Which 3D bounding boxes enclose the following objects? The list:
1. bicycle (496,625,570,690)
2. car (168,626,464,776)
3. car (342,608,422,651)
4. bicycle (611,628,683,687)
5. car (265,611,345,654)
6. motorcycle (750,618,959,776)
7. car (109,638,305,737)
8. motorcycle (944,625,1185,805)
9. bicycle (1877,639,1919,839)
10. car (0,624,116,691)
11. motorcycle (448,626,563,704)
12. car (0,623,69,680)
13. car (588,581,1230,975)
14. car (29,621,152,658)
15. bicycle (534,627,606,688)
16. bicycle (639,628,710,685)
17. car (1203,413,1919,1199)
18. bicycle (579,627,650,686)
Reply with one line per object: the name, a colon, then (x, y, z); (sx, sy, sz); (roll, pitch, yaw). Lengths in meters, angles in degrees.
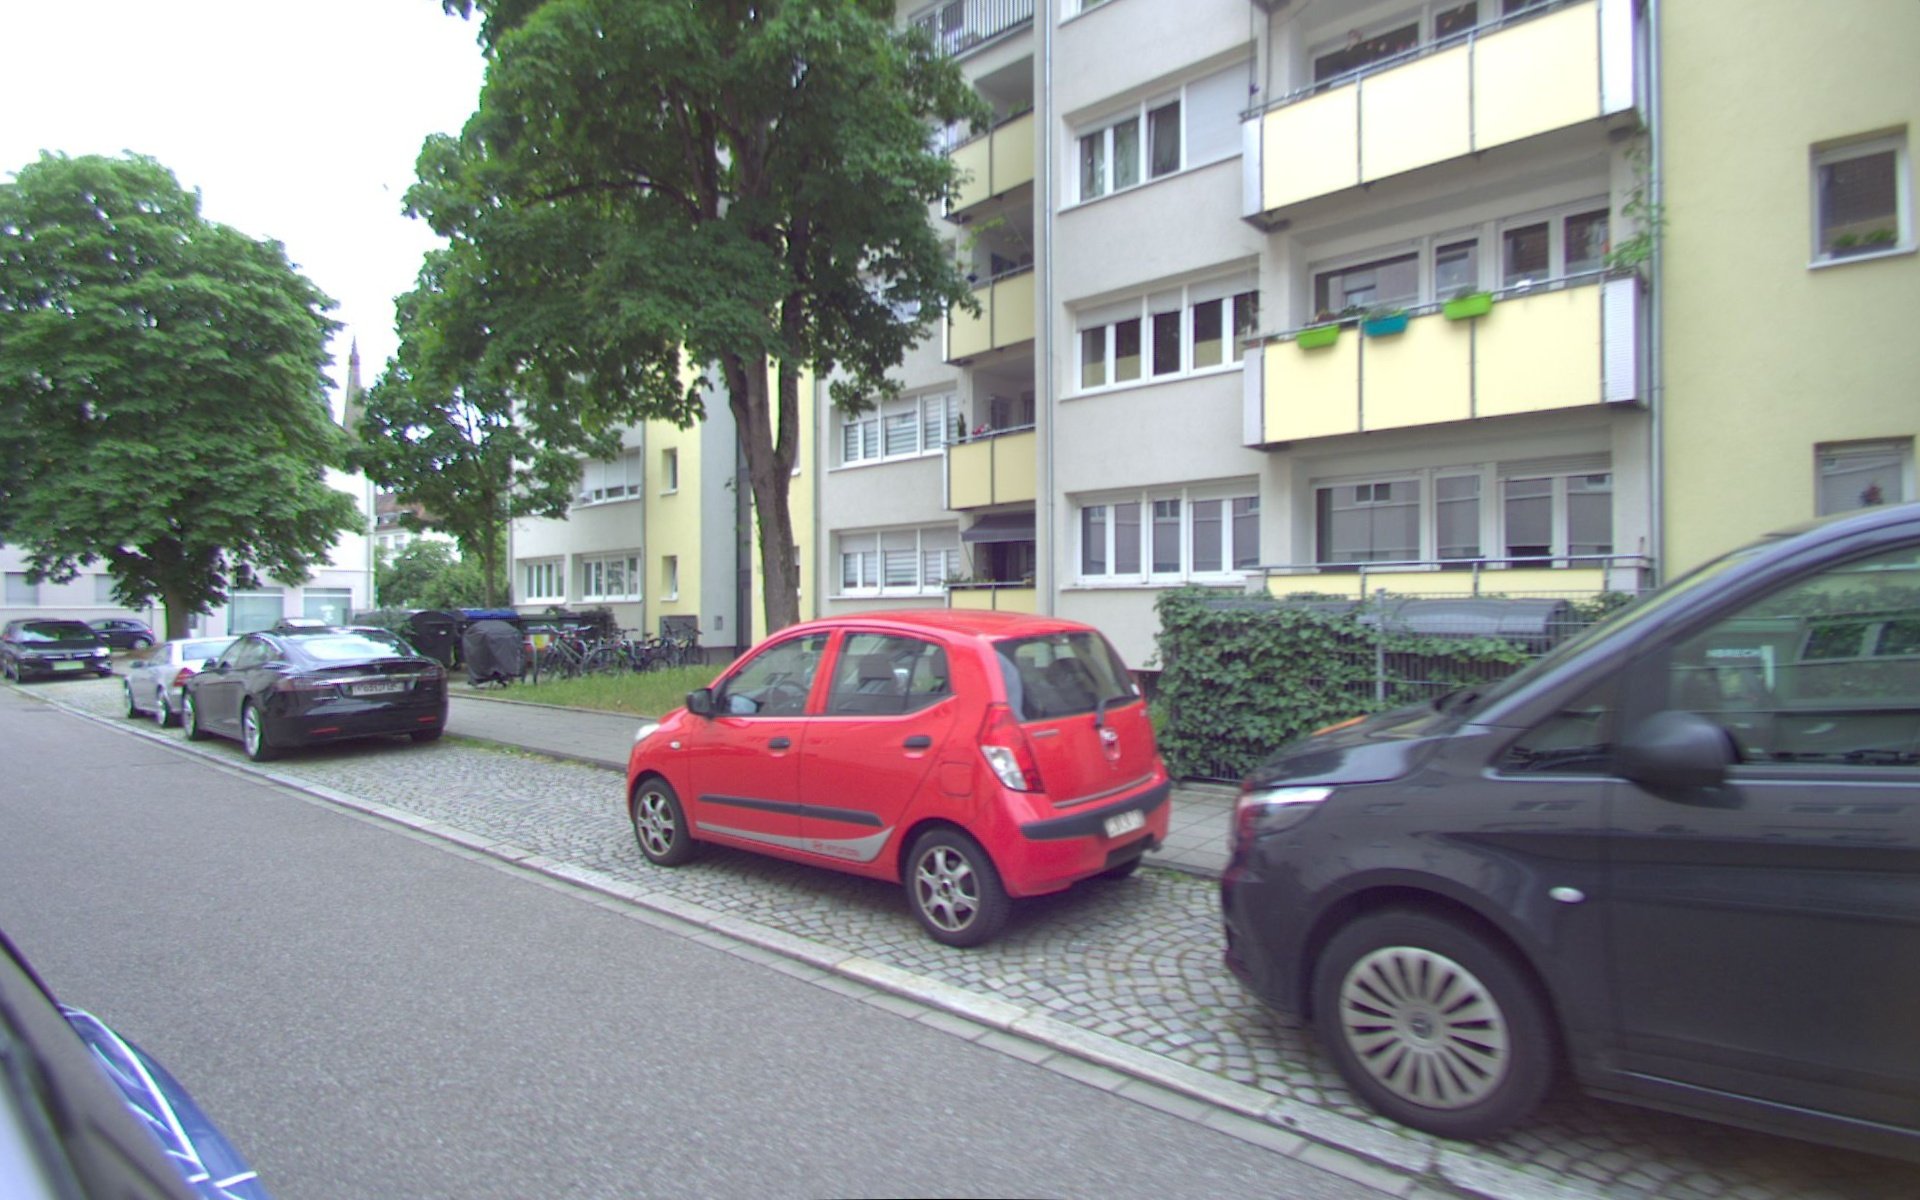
bicycle: (-7.772, 1.022, 18.387); (1.774, 1.109, 0.545); (-1, -1, 42)
car: (-7.994, 1.074, 12.370); (4.627, 1.432, 1.822); (-1, 0, 42)
car: (-24.155, 1.248, 42.217); (1.888, 1.710, 4.070); (0, -2, -45)
bicycle: (-6.293, 1.133, 20.304); (1.774, 1.109, 0.545); (-1, -1, 42)
car: (-25.679, 1.241, 39.623); (3.843, 1.589, 1.804); (-1, -2, 44)
motorcycle: (-1.090, 0.887, 9.960); (2.228, 1.366, 0.670); (-2, 1, 41)
car: (-11.954, 1.281, 15.971); (4.013, 1.268, 1.679); (-1, 0, 41)
motorcycle: (0.792, 0.841, 8.047); (1.832, 1.239, 0.629); (-1, 3, 41)
bicycle: (6.579, 0.856, 6.749); (0.522, 1.134, 2.186); (-1, -1, 38)
car: (-23.108, 1.390, 25.721); (4.833, 1.475, 1.848); (-1, 1, 42)
motorcycle: (-7.868, 1.071, 17.415); (3.066, 1.232, 0.673); (-1, -1, 43)
car: (-27.331, 1.476, 29.662); (3.592, 1.505, 1.508); (-1, 1, 44)
car: (-0.482, 0.755, 5.914); (3.639, 1.580, 1.547); (-2, 1, 40)
car: (-37.815, 1.691, 44.085); (1.762, 1.501, 3.883); (-2, -1, 41)
bicycle: (-7.453, 1.076, 19.323); (1.774, 1.109, 0.545); (-1, -1, 42)
bicycle: (-5.854, 1.134, 20.681); (1.774, 1.109, 0.545); (-1, -1, 42)
car: (3.340, 0.502, 2.427); (5.025, 1.918, 1.860); (-2, 1, 39)
bicycle: (-6.815, 1.093, 19.934); (1.774, 1.109, 0.545); (-1, -1, 42)
